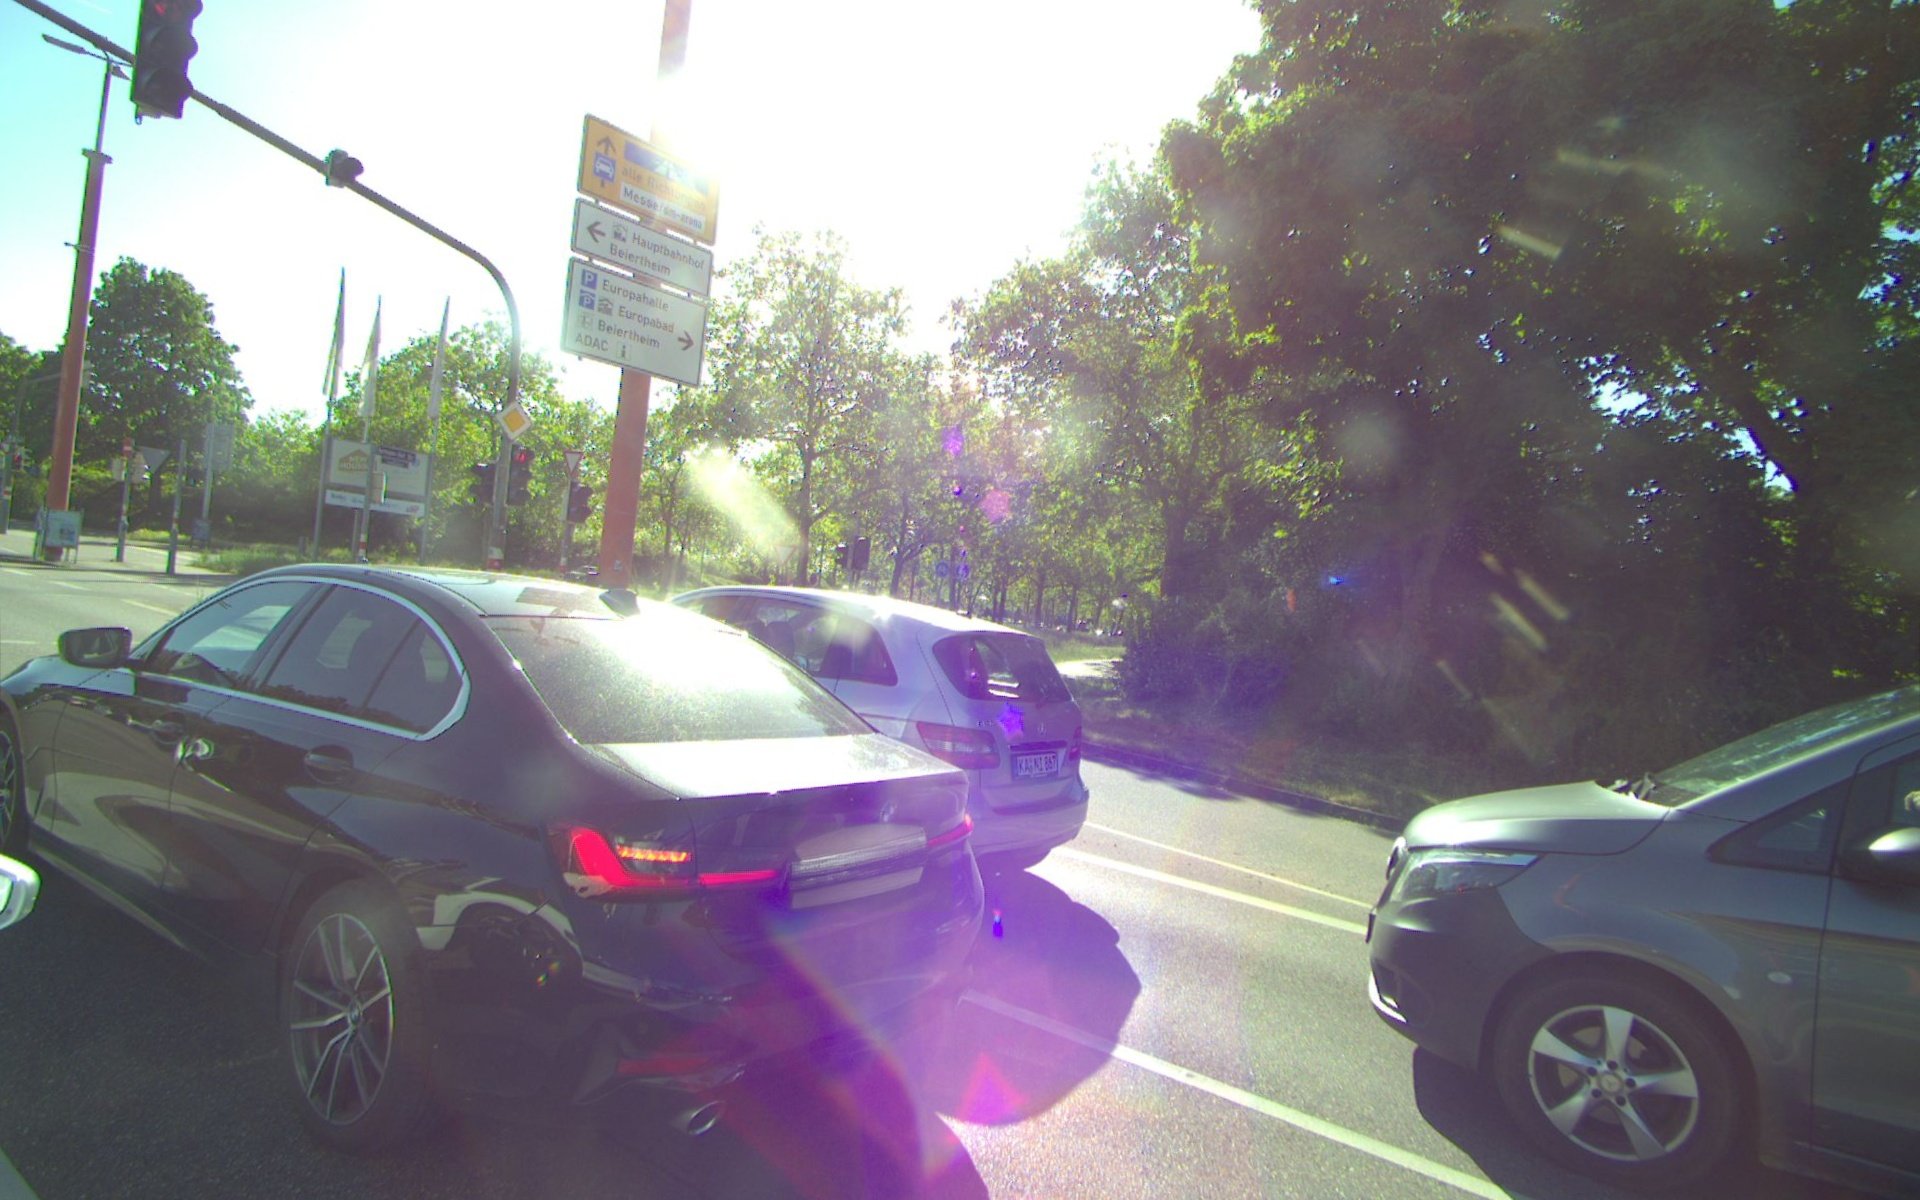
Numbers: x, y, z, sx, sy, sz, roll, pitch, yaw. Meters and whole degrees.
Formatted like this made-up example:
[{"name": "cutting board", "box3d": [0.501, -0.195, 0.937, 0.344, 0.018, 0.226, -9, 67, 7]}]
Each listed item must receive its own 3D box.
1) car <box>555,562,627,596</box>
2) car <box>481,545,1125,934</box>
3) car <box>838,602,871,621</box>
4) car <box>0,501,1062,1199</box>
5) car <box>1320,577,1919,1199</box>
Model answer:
[{"name": "car", "box3d": [-25.492, -1.444, 69.632, 1.744, 1.654, 4.283, 6, -3, 39]}, {"name": "car", "box3d": [-1.106, 0.693, 6.525, 3.784, 1.626, 1.719, 6, -2, 32]}, {"name": "car", "box3d": [-11.931, 1.301, 113.708, 1.737, 1.655, 4.297, 7, -1, 23]}, {"name": "car", "box3d": [-1.968, 0.577, 3.789, 4.226, 1.458, 1.766, 6, -2, 34]}, {"name": "car", "box3d": [3.998, 1.156, 3.072, 5.021, 1.875, 1.806, 7, 0, 34]}]
